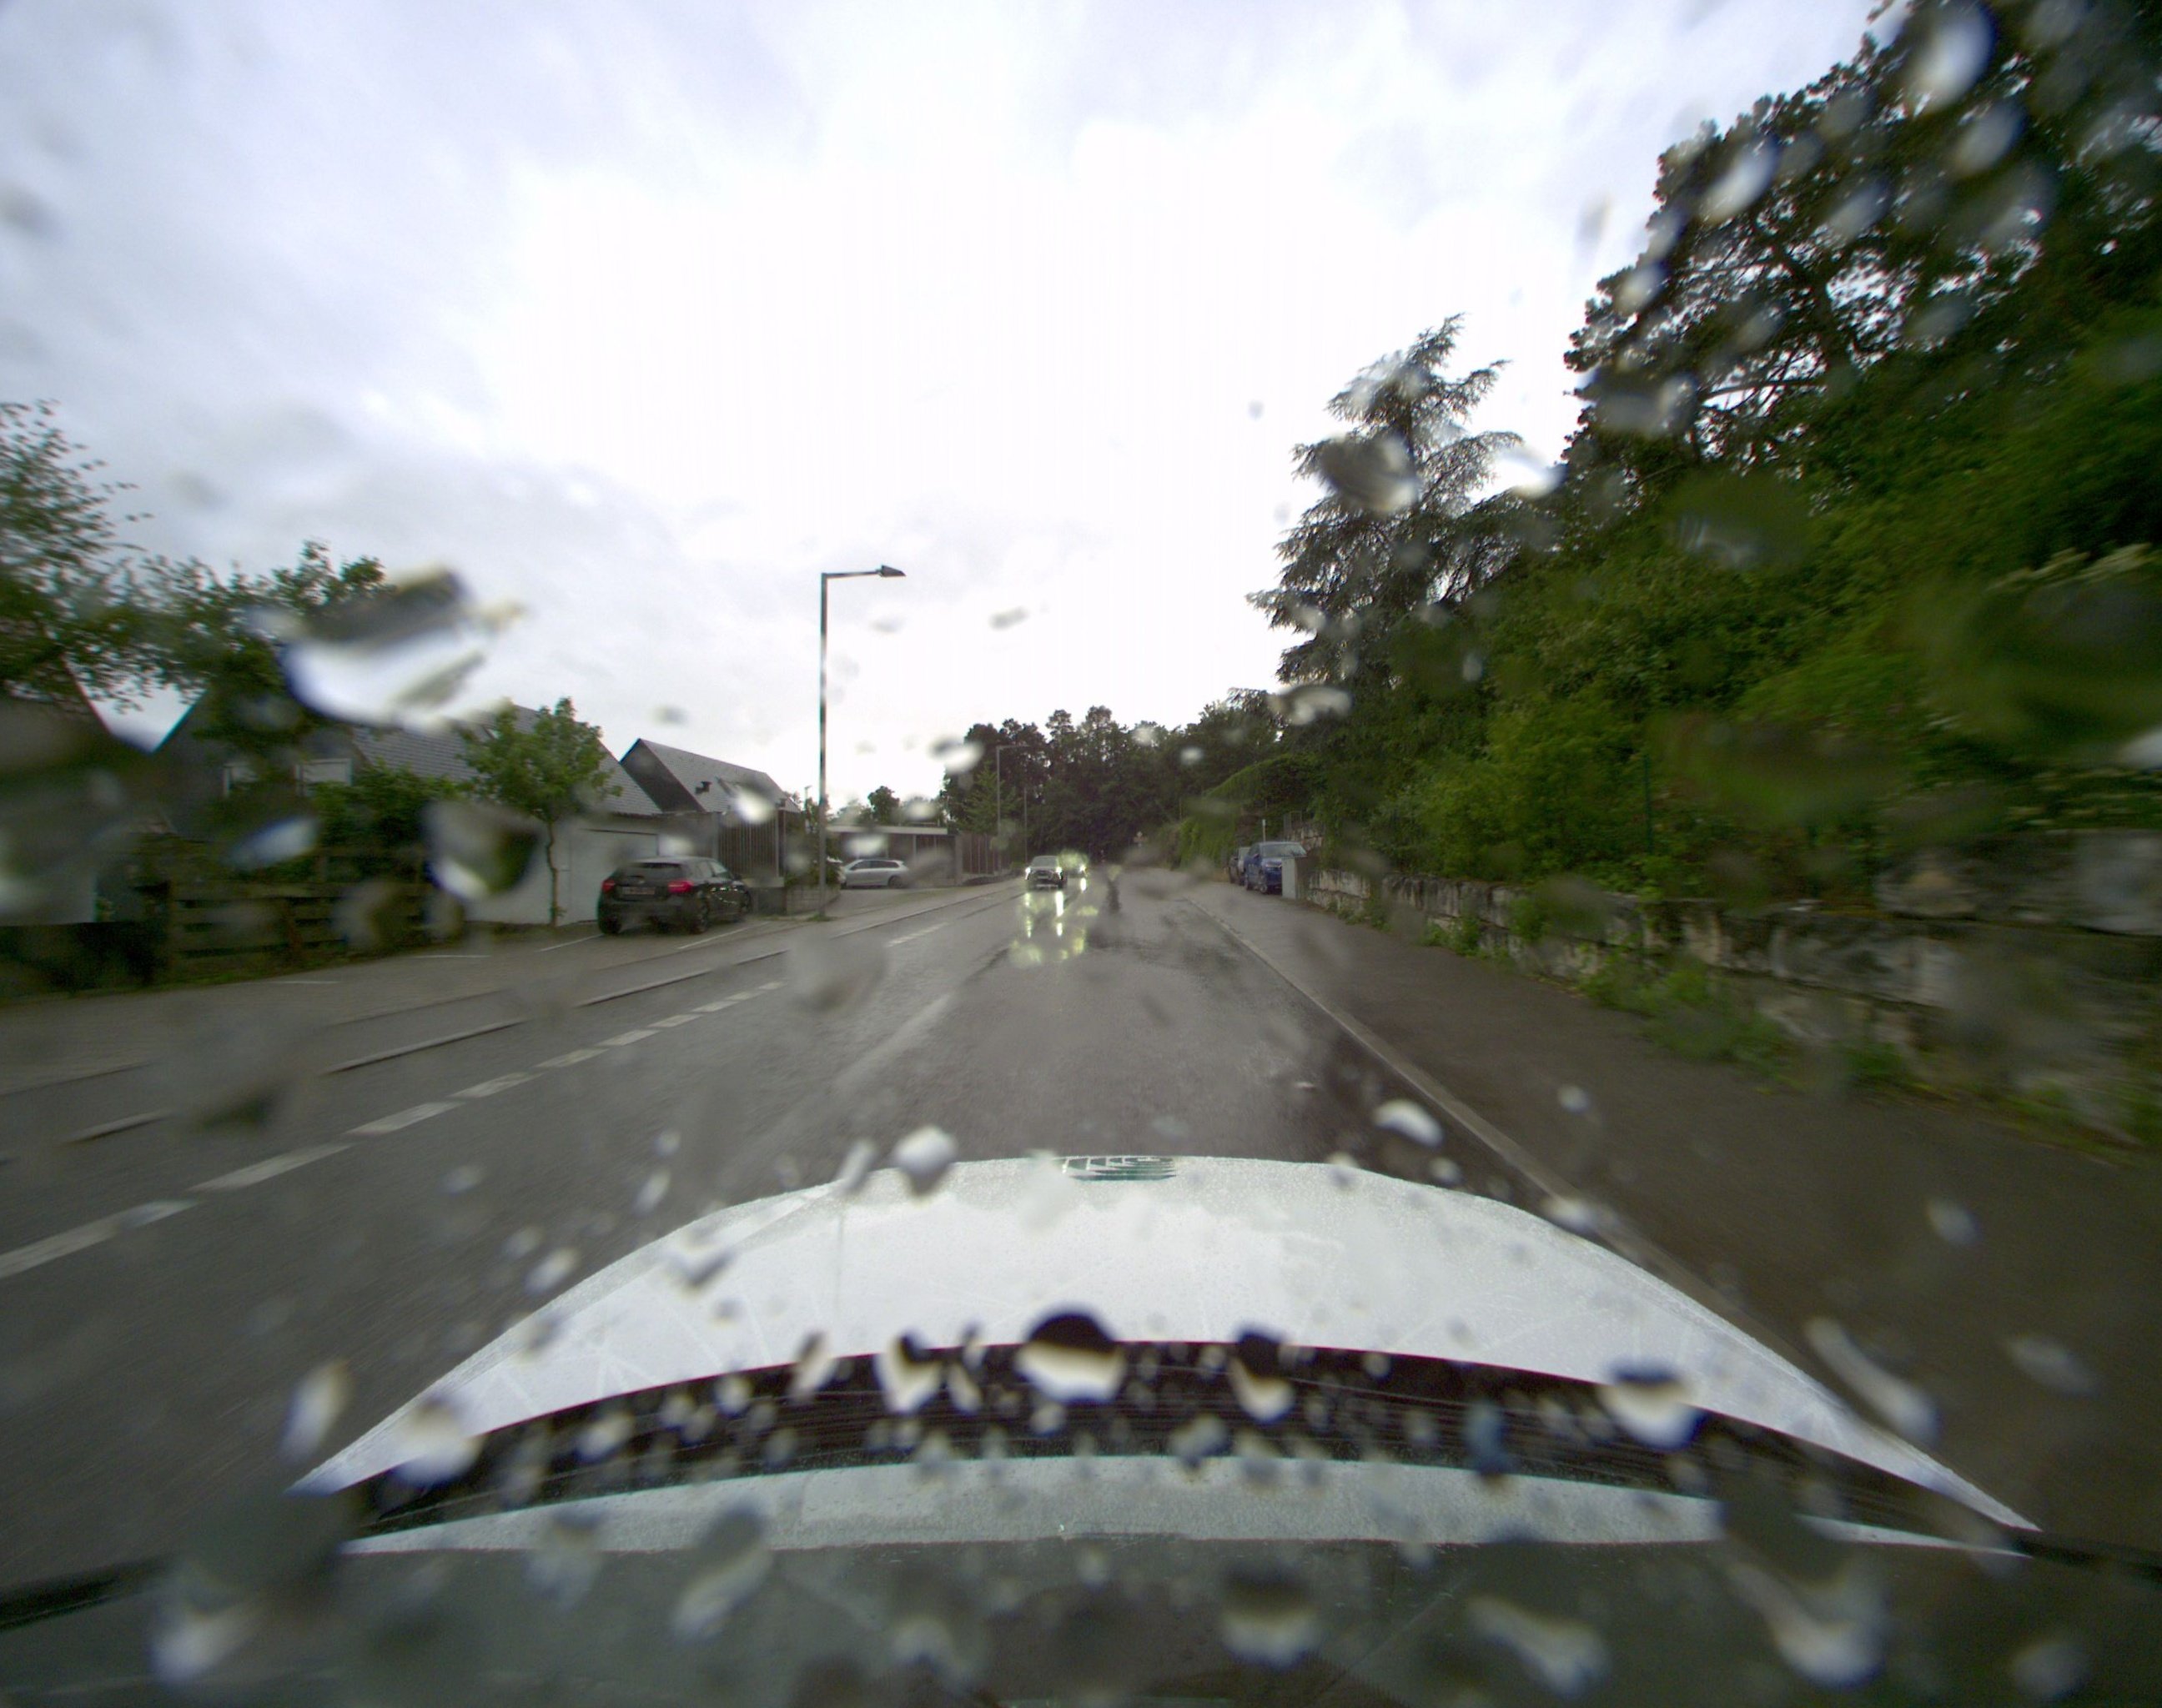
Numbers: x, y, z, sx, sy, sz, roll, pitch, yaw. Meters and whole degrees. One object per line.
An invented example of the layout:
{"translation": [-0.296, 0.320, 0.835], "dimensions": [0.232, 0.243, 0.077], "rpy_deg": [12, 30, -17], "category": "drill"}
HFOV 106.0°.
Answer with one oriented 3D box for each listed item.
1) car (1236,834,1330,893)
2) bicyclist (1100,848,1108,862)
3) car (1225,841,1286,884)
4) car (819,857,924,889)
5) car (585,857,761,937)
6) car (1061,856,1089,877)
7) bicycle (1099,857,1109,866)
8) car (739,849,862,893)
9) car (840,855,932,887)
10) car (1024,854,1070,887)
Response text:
{"translation": [6.616, 0.309, 27.205], "dimensions": [1.986, 1.670, 4.545], "rpy_deg": [-4, 0, 1], "category": "car"}
{"translation": [2.720, 0.149, 95.946], "dimensions": [0.723, 1.615, 0.899], "rpy_deg": [0, 0, -20], "category": "bicyclist"}
{"translation": [7.060, 0.326, 33.293], "dimensions": [1.802, 1.563, 4.014], "rpy_deg": [-4, 0, 3], "category": "car"}
{"translation": [-9.967, 0.871, 38.902], "dimensions": [4.553, 1.442, 1.742], "rpy_deg": [1, -1, -37], "category": "car"}
{"translation": [-8.096, 0.763, 16.642], "dimensions": [1.831, 1.405, 4.250], "rpy_deg": [0, 0, -6], "category": "car"}
{"translation": [-0.388, 0.864, 57.204], "dimensions": [1.840, 1.460, 4.269], "rpy_deg": [0, 0, 1], "category": "car"}
{"translation": [2.738, 0.845, 95.859], "dimensions": [0.529, 1.085, 1.608], "rpy_deg": [0, 0, -23], "category": "bicycle"}
{"translation": [-10.713, 0.600, 31.224], "dimensions": [4.078, 1.574, 1.920], "rpy_deg": [0, 0, -39], "category": "car"}
{"translation": [-10.057, 0.846, 42.141], "dimensions": [4.308, 1.601, 1.819], "rpy_deg": [0, 0, -32], "category": "car"}
{"translation": [-1.565, 0.762, 39.006], "dimensions": [1.843, 1.469, 3.702], "rpy_deg": [0, 0, 3], "category": "car"}
